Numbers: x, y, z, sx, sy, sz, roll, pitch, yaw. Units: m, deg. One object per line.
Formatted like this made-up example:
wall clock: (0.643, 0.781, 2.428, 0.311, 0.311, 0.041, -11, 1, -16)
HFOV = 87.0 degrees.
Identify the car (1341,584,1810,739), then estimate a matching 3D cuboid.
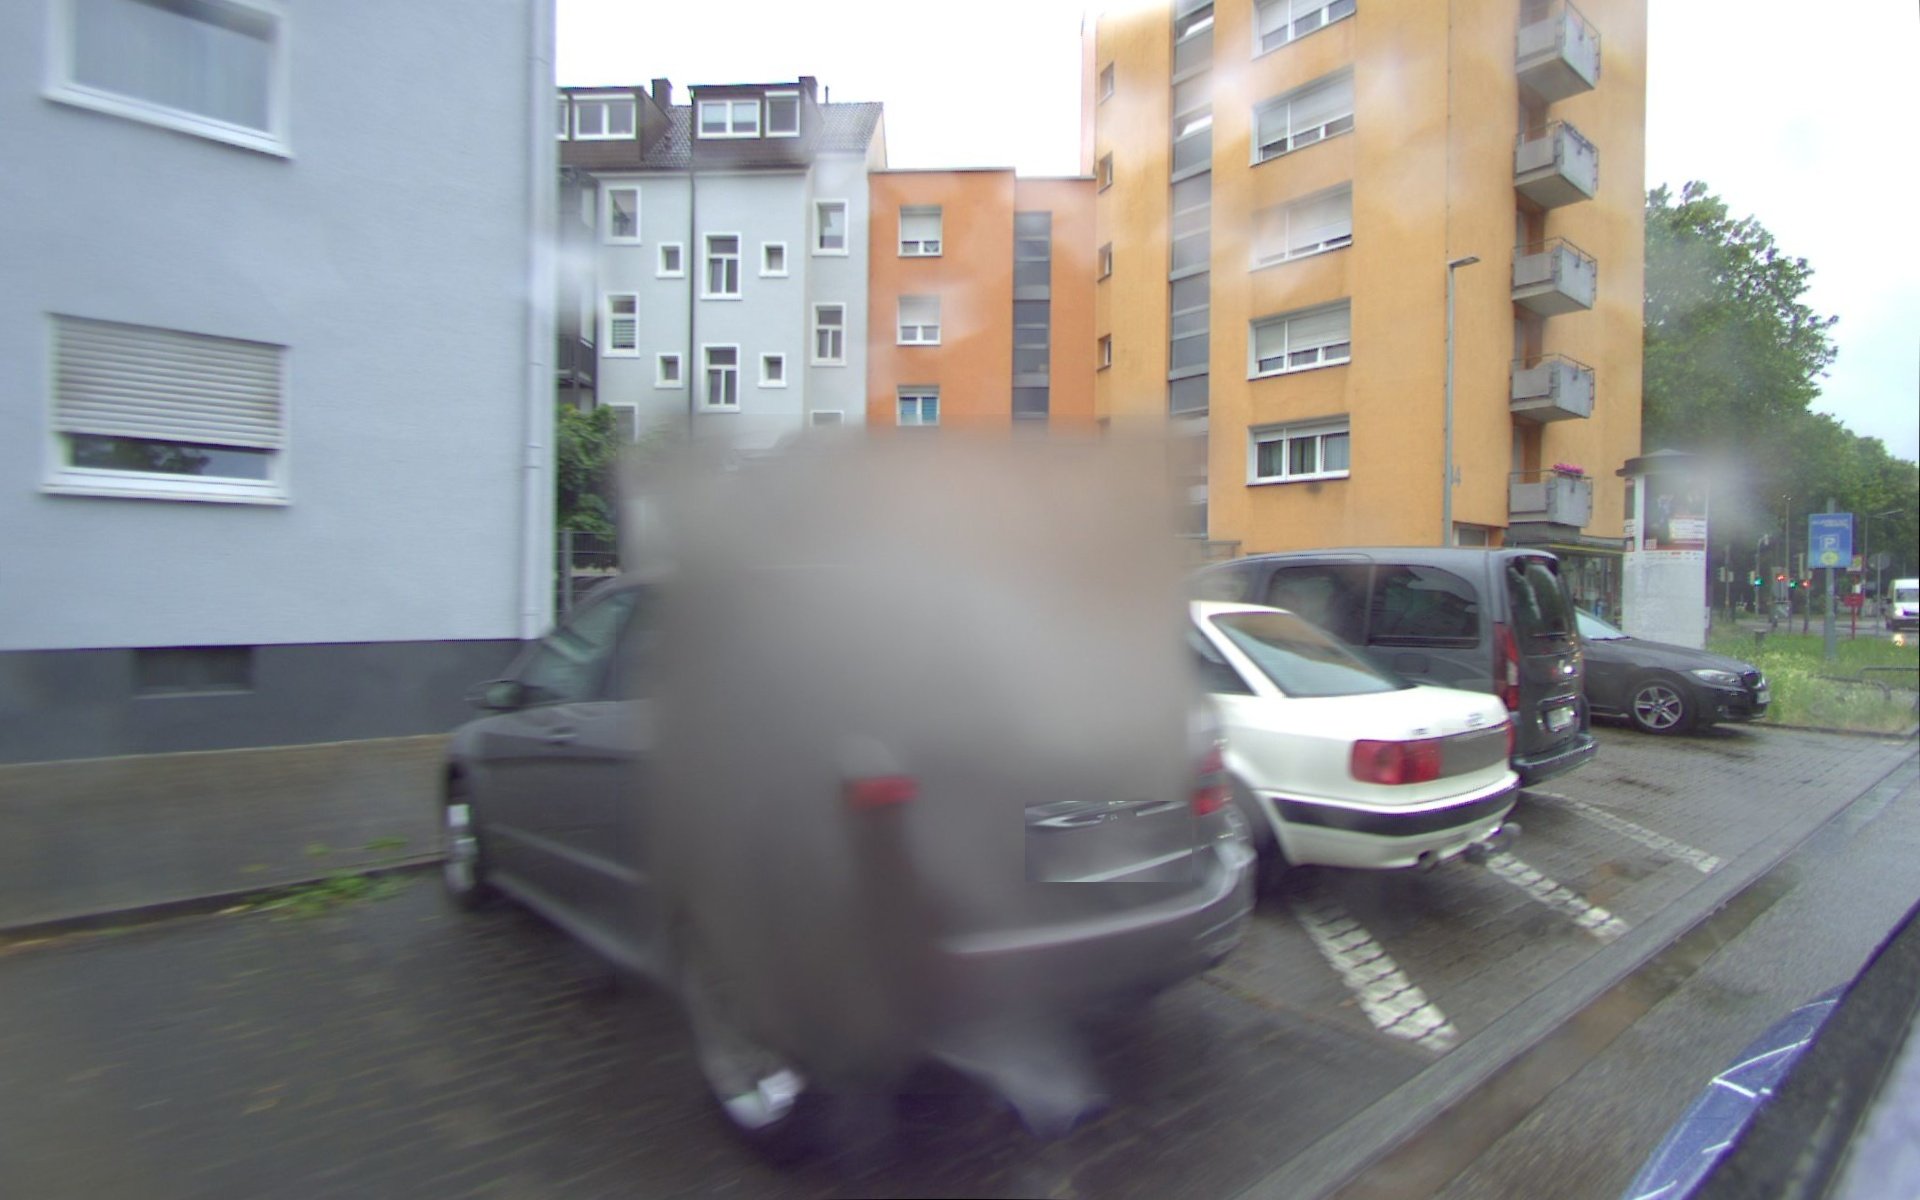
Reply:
car: (7.281, 0.572, 12.401, 1.948, 1.488, 4.542, 0, 2, -40)

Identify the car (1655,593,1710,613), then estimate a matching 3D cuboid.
car: (59.773, 0.233, 83.773, 1.812, 1.544, 3.452, 0, 0, -44)

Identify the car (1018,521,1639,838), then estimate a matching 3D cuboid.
car: (2.659, 0.394, 8.057, 1.912, 1.827, 4.236, 0, 2, -43)

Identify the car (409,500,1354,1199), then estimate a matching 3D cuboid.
car: (-0.782, 0.582, 4.260, 1.857, 1.591, 4.188, 0, 0, -41)

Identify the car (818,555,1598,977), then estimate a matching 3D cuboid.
car: (1.107, 0.584, 6.003, 1.856, 1.588, 4.196, 0, 1, -42)

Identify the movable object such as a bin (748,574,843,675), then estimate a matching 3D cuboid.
movable object such as a bin: (-2.397, 0.334, 14.669, 0.936, 1.395, 1.220, 1, 0, -33)

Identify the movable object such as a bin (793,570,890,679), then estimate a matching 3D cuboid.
movable object such as a bin: (-1.607, 0.306, 13.606, 0.806, 1.395, 1.239, 1, 0, -33)

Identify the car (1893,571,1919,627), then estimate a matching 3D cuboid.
car: (47.559, -0.037, 49.499, 2.272, 2.594, 6.422, 0, 0, 38)
